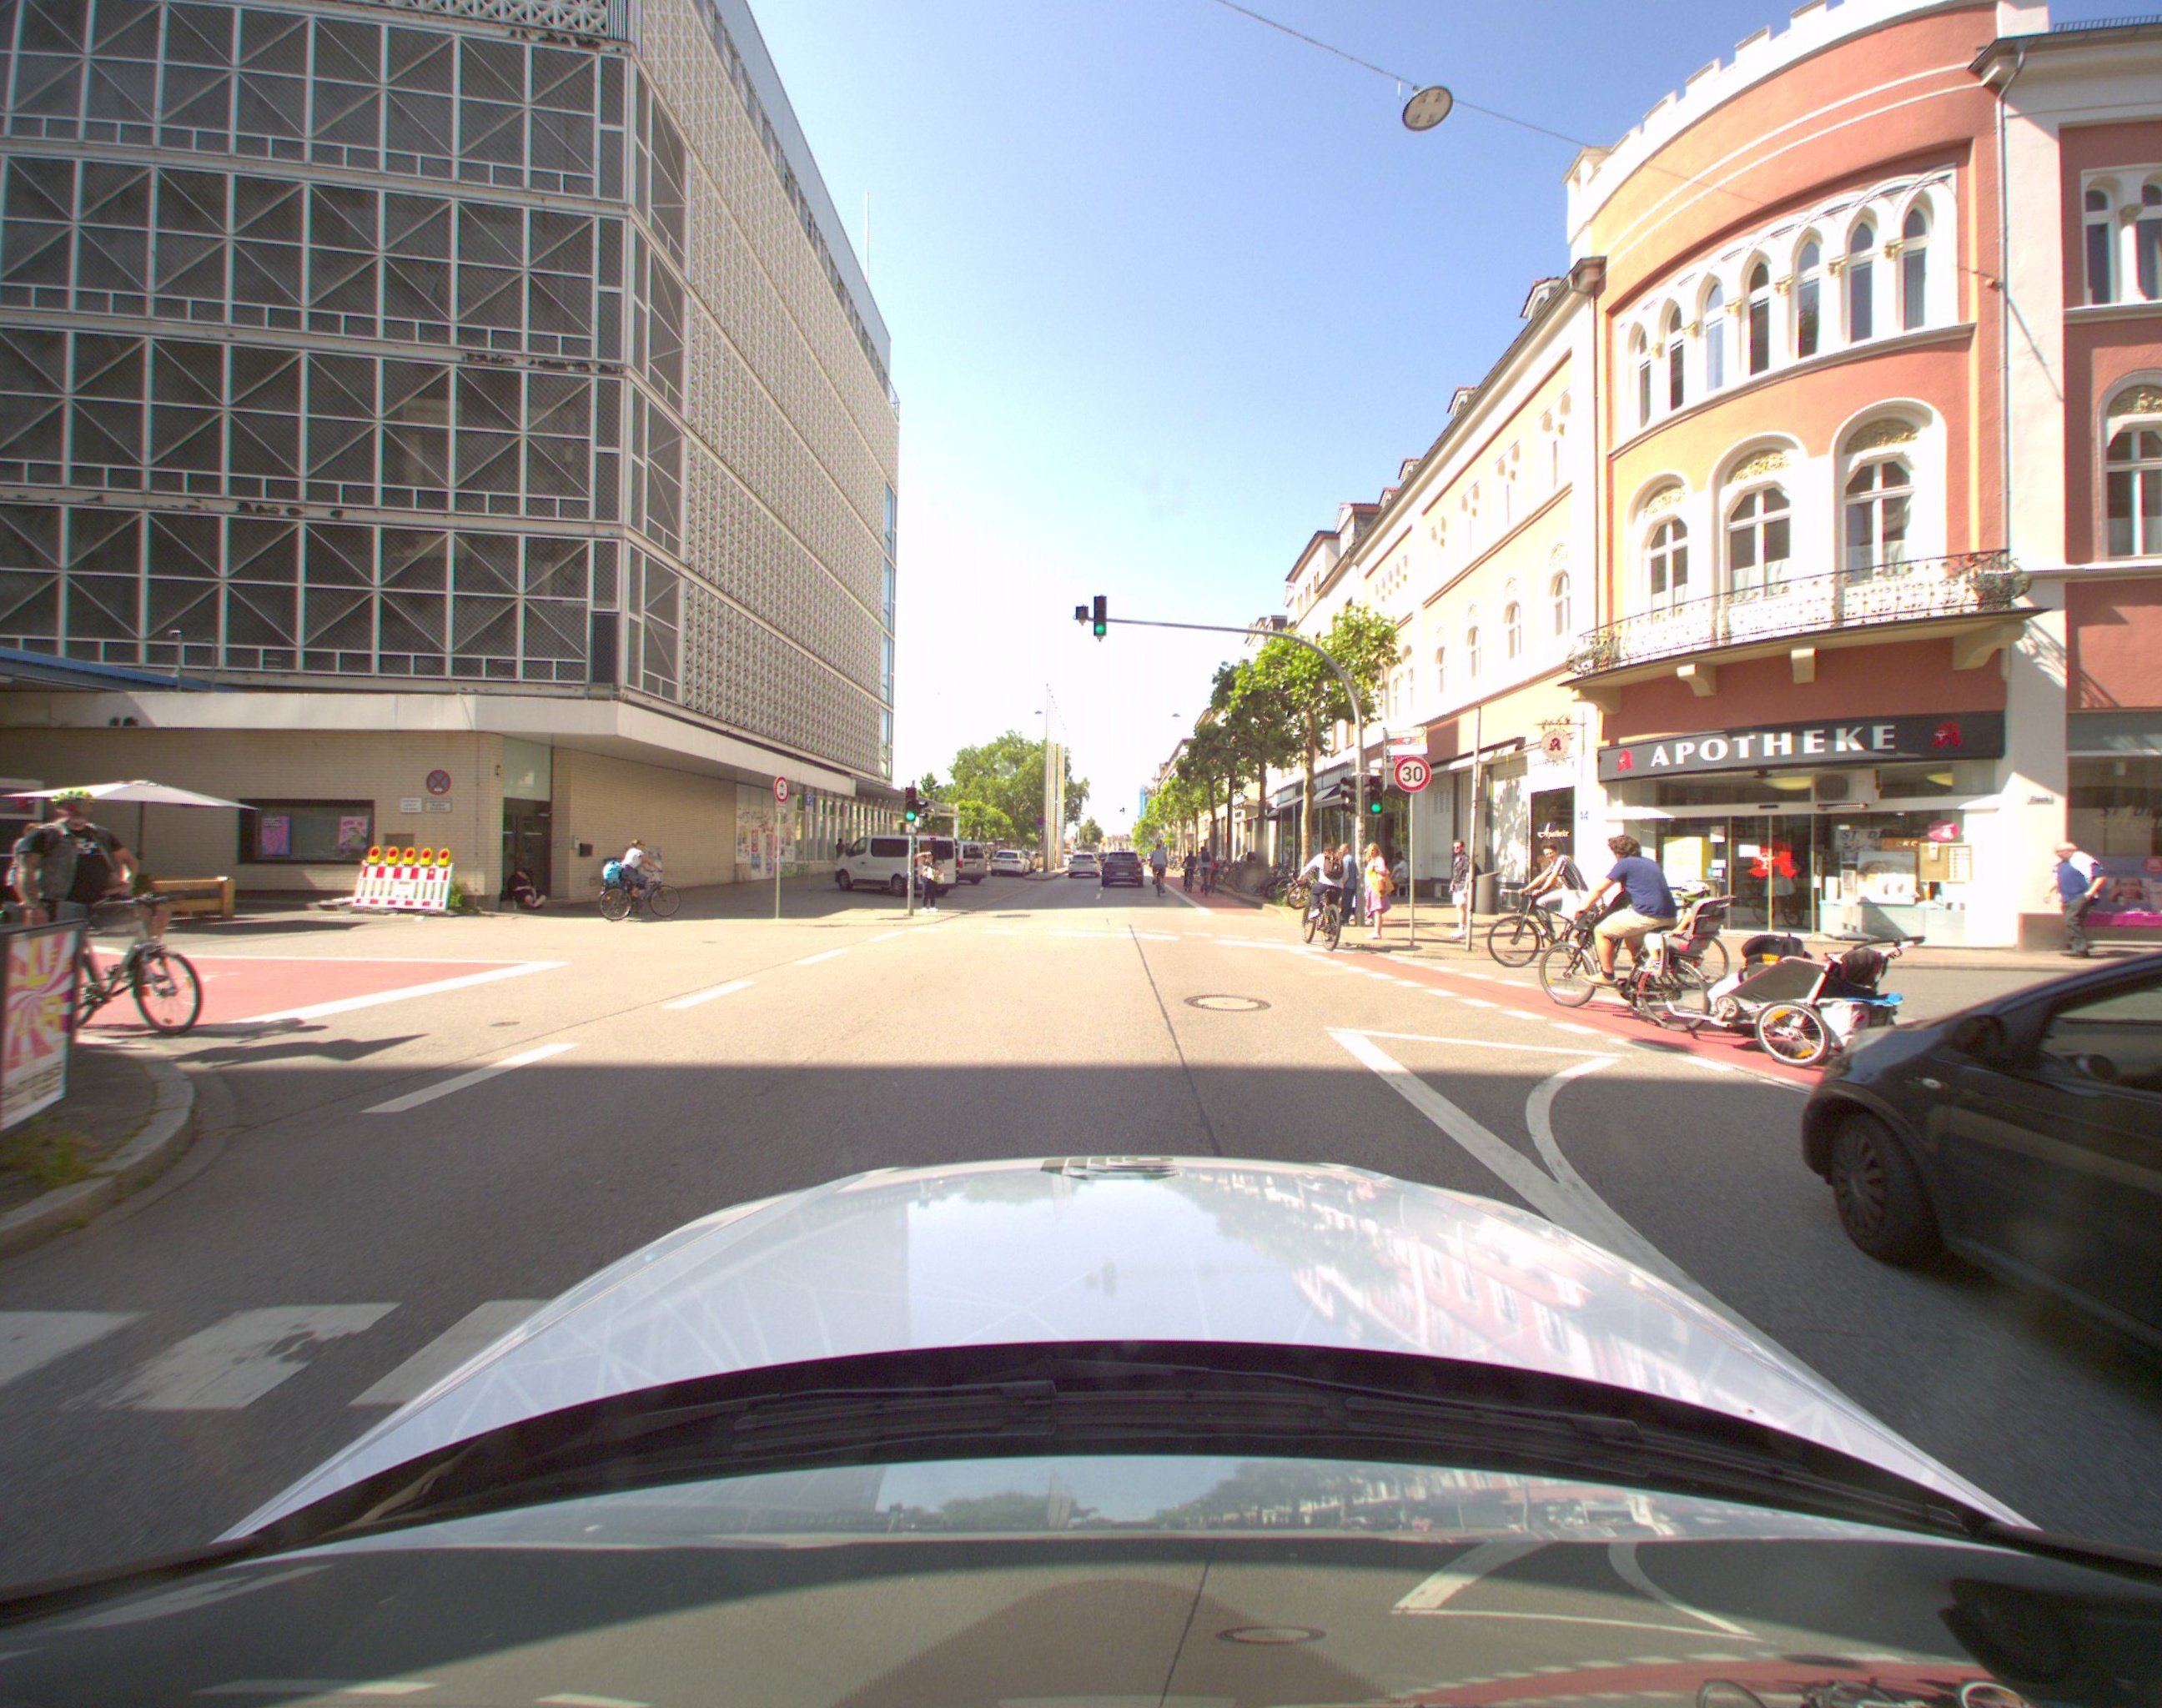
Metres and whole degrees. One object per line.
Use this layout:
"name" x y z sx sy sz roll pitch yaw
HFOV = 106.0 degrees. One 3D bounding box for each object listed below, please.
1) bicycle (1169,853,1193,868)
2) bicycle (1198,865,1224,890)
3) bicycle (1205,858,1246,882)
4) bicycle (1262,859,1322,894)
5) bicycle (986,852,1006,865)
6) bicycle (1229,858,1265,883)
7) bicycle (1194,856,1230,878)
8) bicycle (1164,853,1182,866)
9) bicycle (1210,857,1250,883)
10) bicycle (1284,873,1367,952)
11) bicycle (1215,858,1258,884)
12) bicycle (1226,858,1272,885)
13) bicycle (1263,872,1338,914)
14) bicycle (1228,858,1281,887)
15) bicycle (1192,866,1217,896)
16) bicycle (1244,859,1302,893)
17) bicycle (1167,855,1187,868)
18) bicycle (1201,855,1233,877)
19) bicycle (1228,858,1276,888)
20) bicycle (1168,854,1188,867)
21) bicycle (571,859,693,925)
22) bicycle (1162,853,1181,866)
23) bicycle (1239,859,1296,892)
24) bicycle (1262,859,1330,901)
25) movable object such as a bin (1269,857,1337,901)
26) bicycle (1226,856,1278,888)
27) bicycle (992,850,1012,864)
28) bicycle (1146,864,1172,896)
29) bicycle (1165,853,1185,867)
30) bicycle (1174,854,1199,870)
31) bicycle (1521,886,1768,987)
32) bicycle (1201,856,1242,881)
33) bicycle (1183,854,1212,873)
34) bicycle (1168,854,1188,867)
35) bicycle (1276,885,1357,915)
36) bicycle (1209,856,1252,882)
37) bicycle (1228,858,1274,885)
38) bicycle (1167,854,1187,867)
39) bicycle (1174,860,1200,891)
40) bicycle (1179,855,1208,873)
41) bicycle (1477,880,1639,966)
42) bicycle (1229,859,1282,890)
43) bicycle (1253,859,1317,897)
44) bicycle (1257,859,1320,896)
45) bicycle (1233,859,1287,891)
"bicycle" 8.380 0.539 68.377 1.922 1.248 0.737 1 0 4
"bicycle" 5.030 0.898 31.582 0.598 0.926 2.086 -3 -1 -1
"bicycle" 6.992 0.770 39.481 1.839 1.093 0.563 2 0 -9
"bicycle" 6.856 0.729 26.519 1.832 1.127 0.667 0 -1 4
"bicycle" -7.840 0.417 75.397 1.776 1.132 0.562 1 0 -1
"bicycle" 7.418 0.742 36.343 1.853 1.127 0.443 1 -2 -35
"bicycle" 7.151 0.702 44.436 1.837 1.126 0.496 3 1 -6
"bicycle" 8.815 0.553 77.848 1.641 1.201 0.475 1 0 4
"bicycle" 6.676 0.711 36.419 1.853 1.127 0.588 1 -1 -34
"bicycle" 4.002 0.917 13.491 0.696 1.127 2.080 2 0 -1
"bicycle" 6.748 0.723 35.386 1.822 1.127 0.451 0 -1 30
"bicycle" 7.027 0.719 34.075 1.831 1.127 0.449 0 -1 5
"bicycle" 6.094 1.099 22.686 1.842 0.397 1.019 8 -35 6
"bicycle" 6.845 0.731 32.105 1.971 1.127 0.764 0 -1 15
"bicycle" 4.277 0.915 28.346 0.628 0.980 2.090 0 0 2
"bicycle" 6.383 0.735 27.141 1.832 1.127 0.644 0 -1 4
"bicycle" 8.448 0.618 71.545 1.720 1.109 0.478 1 0 4
"bicycle" 7.702 0.691 46.085 1.783 1.197 0.573 1 0 -25
"bicycle" 6.890 0.755 32.818 1.827 1.127 0.532 2 -1 14
"bicycle" 8.312 0.582 69.862 1.720 1.109 0.737 1 0 4
"bicycle" -9.663 0.778 17.638 0.726 1.267 2.226 0 1 33
"bicycle" 8.820 0.558 79.575 1.835 1.201 0.609 1 0 4
"bicycle" 6.449 0.726 28.187 1.832 1.127 0.667 0 -1 4
"bicycle" 6.201 0.737 23.485 1.826 1.126 0.347 3 1 17
"movable object such as a bin" 6.522 0.716 23.917 1.836 1.189 0.656 3 0 17
"bicycle" 6.429 0.676 30.680 1.831 1.127 0.680 2 0 5
"bicycle" -7.584 0.313 78.184 1.776 1.309 0.663 1 0 -1
"bicycle" 2.667 0.853 27.905 0.771 1.006 2.331 0 0 3
"bicycle" 8.407 0.552 72.634 1.720 1.217 0.478 1 0 4
"bicycle" 7.935 0.608 61.284 1.830 1.186 0.671 2 0 7
"bicycle" 6.686 0.962 9.717 2.558 1.127 0.628 0 1 -2
"bicycle" 6.916 0.707 39.983 1.839 1.127 0.630 3 -1 -9
"bicycle" 7.502 0.618 52.459 1.829 1.197 0.675 1 0 9
"bicycle" 8.401 0.573 70.712 1.720 1.109 0.403 1 0 4
"bicycle" 6.290 1.241 21.877 1.142 0.434 1.842 -10 -5 -24
"bicycle" 7.099 0.728 38.735 1.840 1.127 0.763 3 -2 -11
"bicycle" 7.025 0.718 33.615 1.831 1.127 0.449 0 -1 5
"bicycle" 8.395 0.601 71.127 1.720 1.109 0.403 1 0 4
"bicycle" 4.114 0.823 31.703 0.696 1.127 2.080 2 0 -1
"bicycle" 7.384 0.657 53.530 1.827 1.127 0.499 2 0 13
"bicycle" 6.572 0.934 11.293 1.830 1.127 0.668 0 -1 6
"bicycle" 6.364 0.747 29.698 1.832 1.127 0.530 0 -1 4
"bicycle" 6.198 0.720 24.794 1.829 1.127 0.668 0 -1 9
"bicycle" 6.490 0.724 25.560 1.832 1.127 0.667 0 -1 4
"bicycle" 6.359 0.745 29.002 1.832 1.127 0.667 0 -1 4
